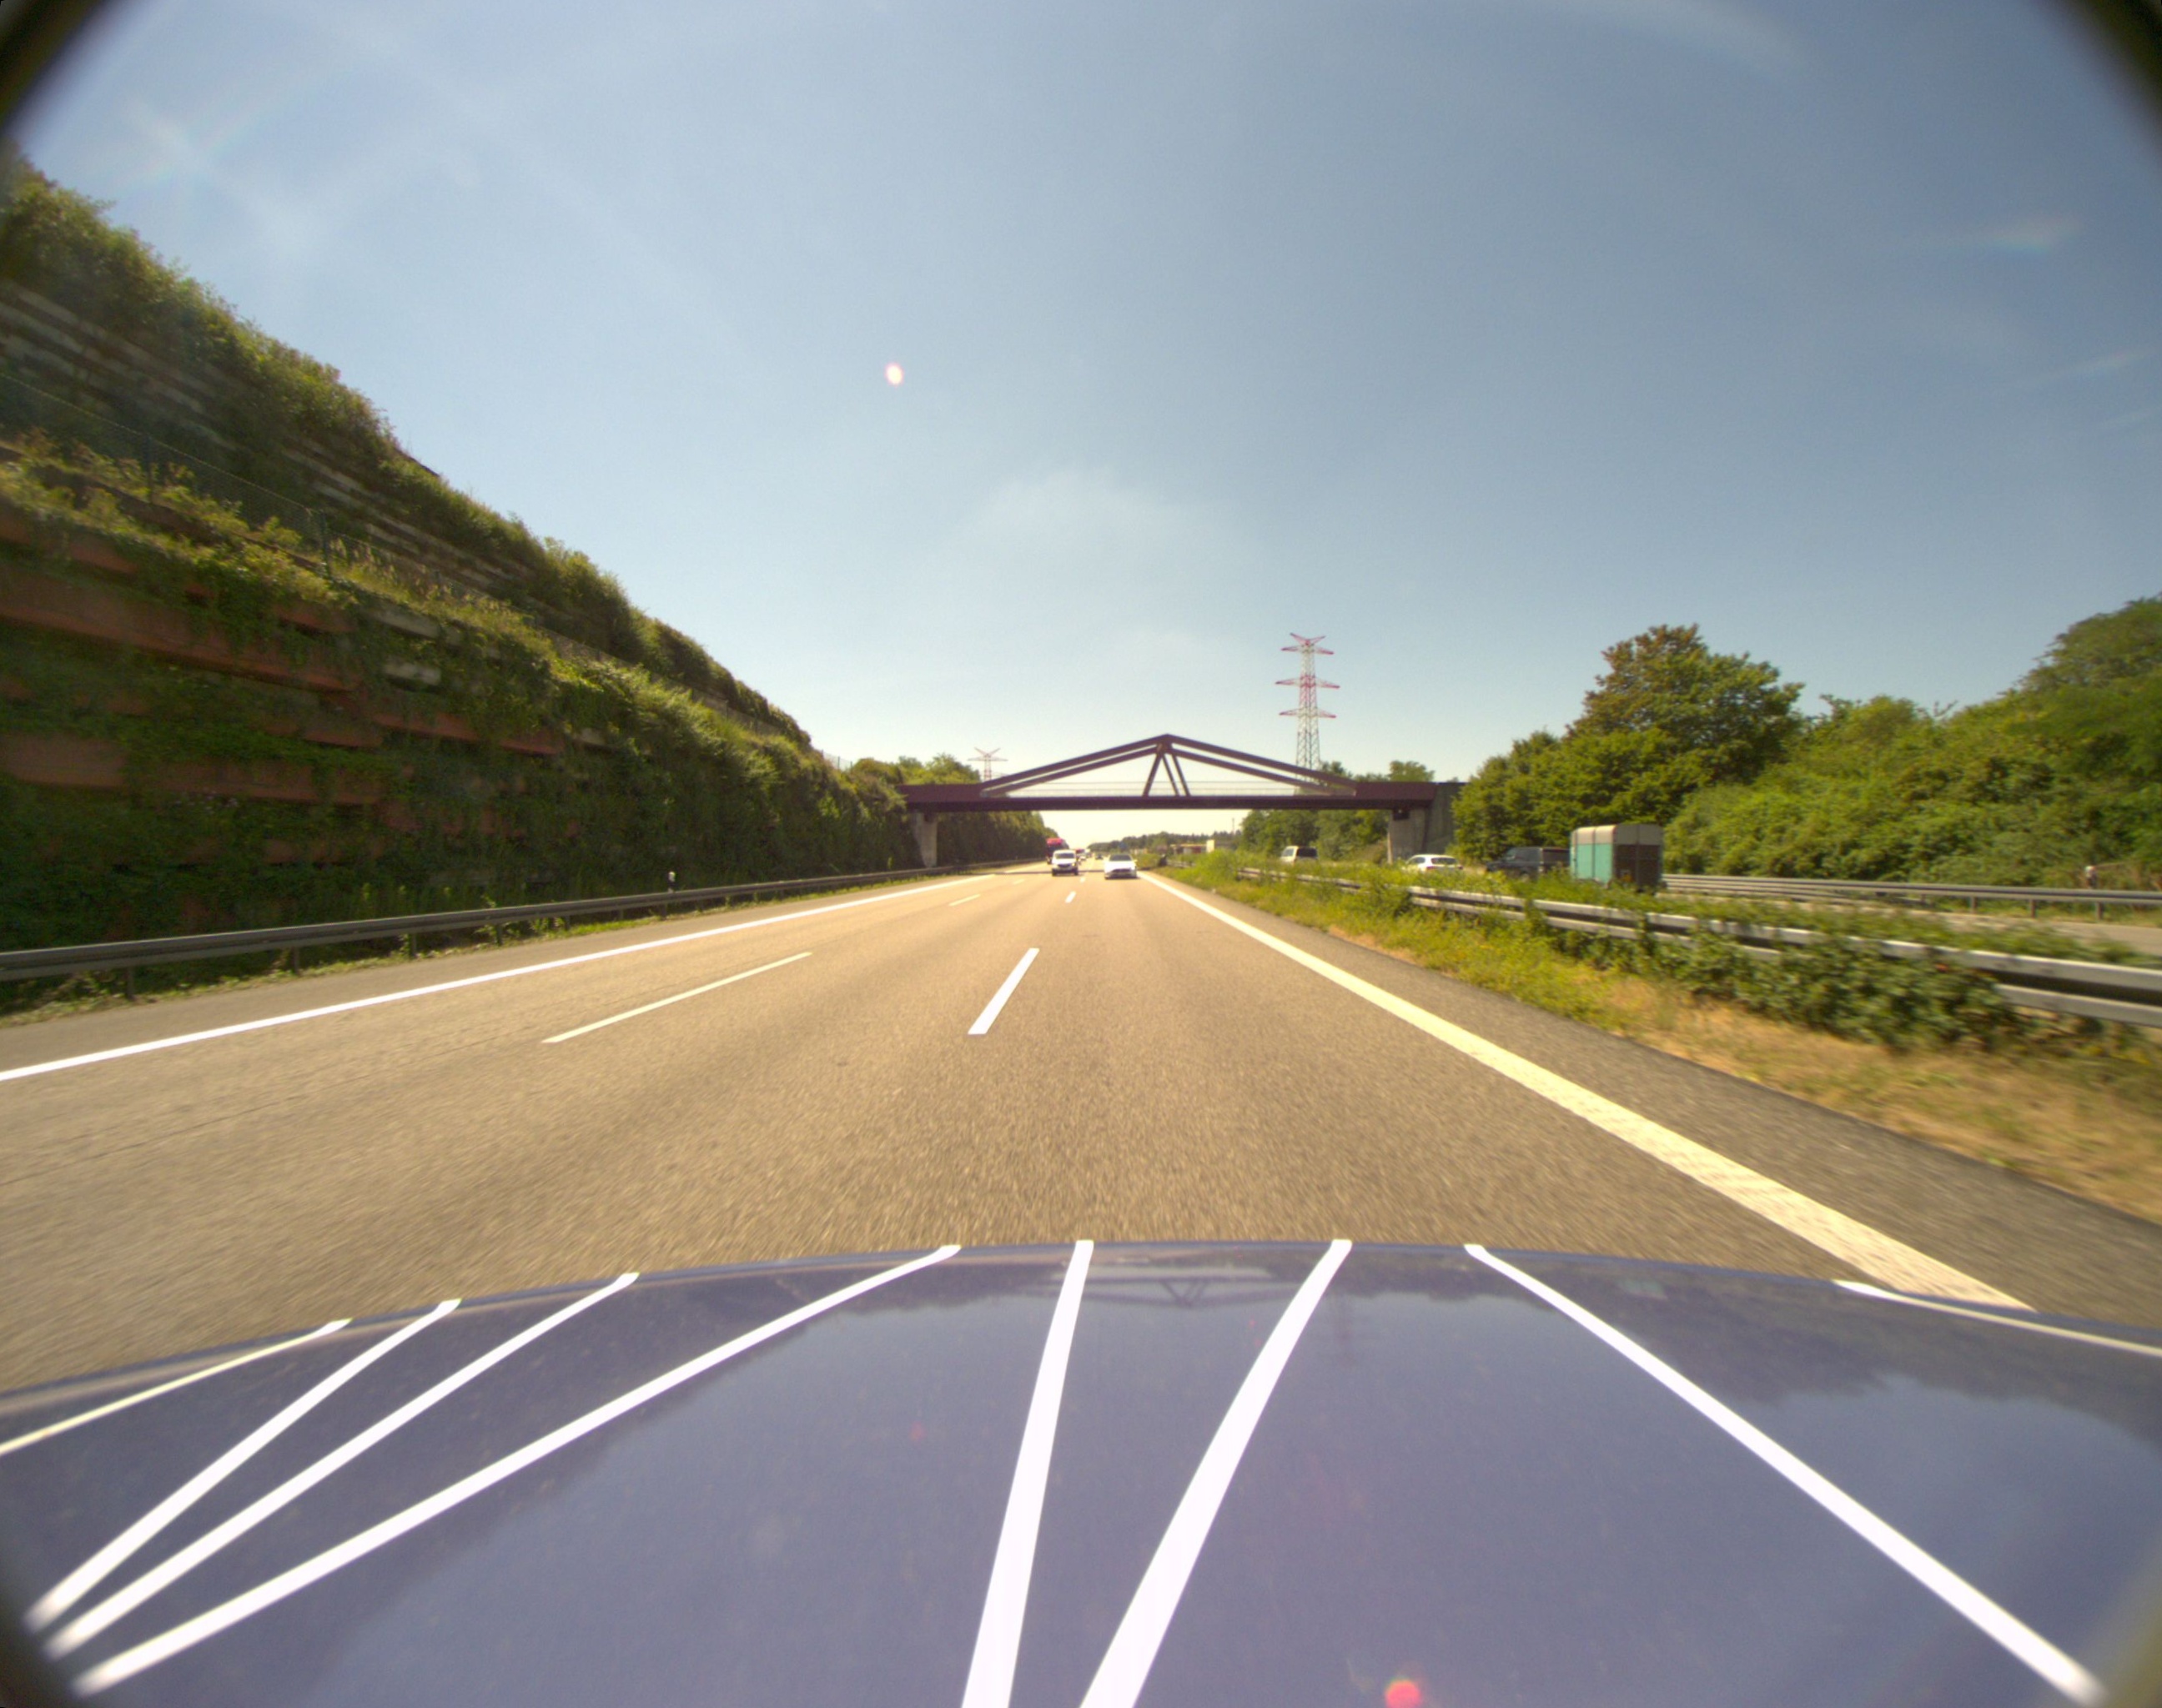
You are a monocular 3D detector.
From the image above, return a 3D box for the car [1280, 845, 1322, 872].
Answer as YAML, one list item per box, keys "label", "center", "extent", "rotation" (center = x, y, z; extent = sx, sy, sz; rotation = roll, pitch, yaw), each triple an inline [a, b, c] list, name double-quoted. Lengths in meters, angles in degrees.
- label: "car"
  center: [15.945, 0.280, 55.157]
  extent: [1.892, 1.833, 3.999]
  rotation: [-2, 1, 1]

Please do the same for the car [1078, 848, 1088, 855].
- label: "car"
  center: [0.413, -0.524, 152.216]
  extent: [1.784, 1.475, 4.000]
  rotation: [-2, 0, 1]

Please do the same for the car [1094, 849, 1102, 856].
- label: "car"
  center: [3.986, -0.441, 175.197]
  extent: [1.784, 1.475, 3.999]
  rotation: [-2, 1, 1]

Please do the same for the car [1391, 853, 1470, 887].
- label: "car"
  center: [15.609, 0.674, 34.143]
  extent: [1.756, 1.427, 4.000]
  rotation: [0, 0, 1]

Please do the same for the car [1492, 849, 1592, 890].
- label: "car"
  center: [19.489, 0.608, 32.340]
  extent: [1.892, 1.622, 4.000]
  rotation: [0, 0, 1]

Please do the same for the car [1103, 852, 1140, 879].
- label: "car"
  center: [2.332, 0.644, 44.471]
  extent: [1.998, 1.474, 4.108]
  rotation: [0, 0, 1]

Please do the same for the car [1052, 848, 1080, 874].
- label: "car"
  center: [-1.026, 0.466, 54.416]
  extent: [1.784, 1.783, 4.000]
  rotation: [-2, 0, 1]

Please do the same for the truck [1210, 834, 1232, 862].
- label: "truck"
  center: [21.516, -0.957, 117.069]
  extent: [2.443, 4.203, 5.594]
  rotation: [0, 1, 0]

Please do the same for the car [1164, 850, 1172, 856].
- label: "car"
  center: [23.593, -0.266, 205.683]
  extent: [1.784, 1.475, 4.000]
  rotation: [0, 0, 1]

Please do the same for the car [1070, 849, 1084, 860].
- label: "car"
  center: [-0.508, 0.064, 102.912]
  extent: [1.784, 1.475, 4.000]
  rotation: [-2, 0, 1]

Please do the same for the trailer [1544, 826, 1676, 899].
- label: "trailer"
  center: [19.485, 0.285, 28.234]
  extent: [1.998, 2.504, 4.183]
  rotation: [0, 1, 1]
